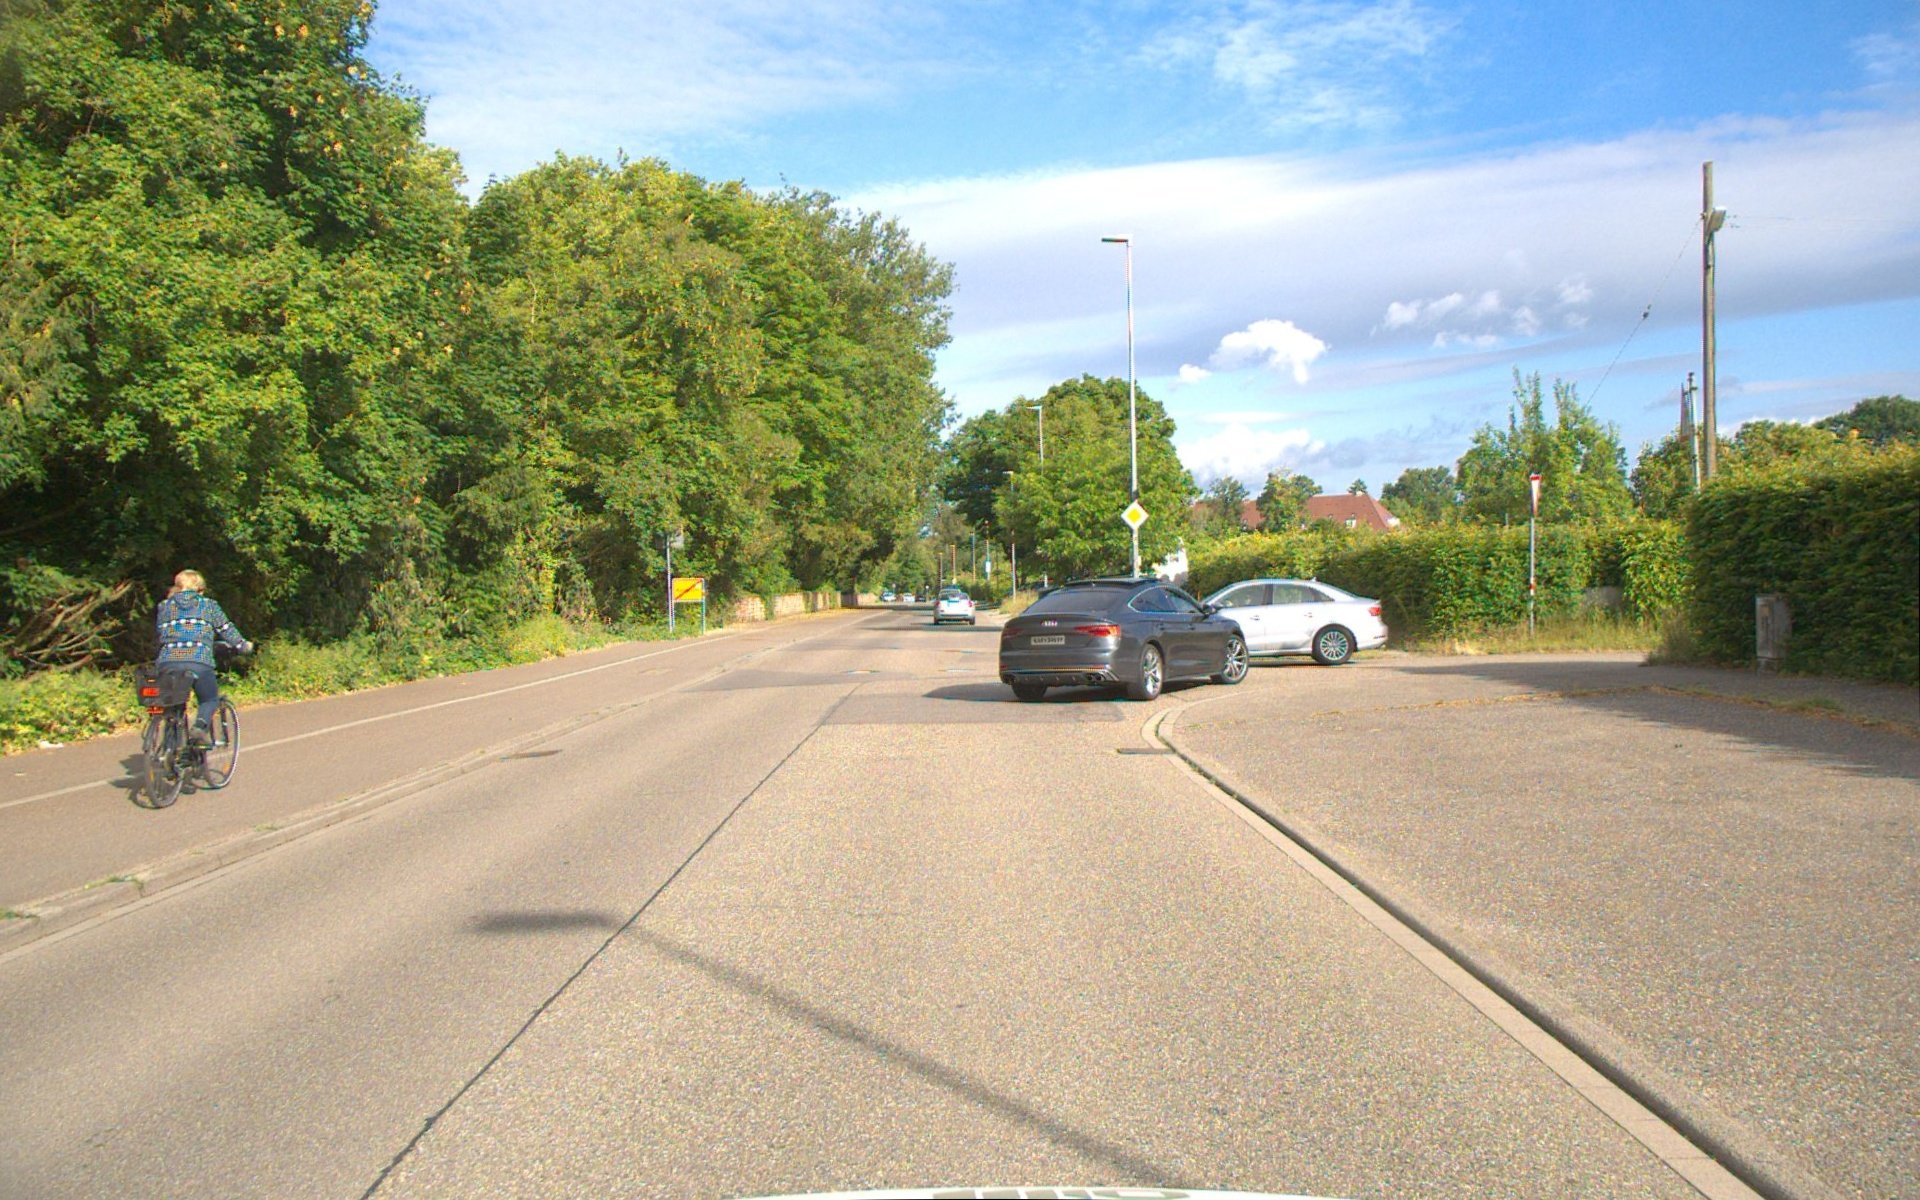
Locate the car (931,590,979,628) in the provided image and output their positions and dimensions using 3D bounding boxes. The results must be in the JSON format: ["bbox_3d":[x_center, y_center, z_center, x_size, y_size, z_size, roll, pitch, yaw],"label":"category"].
[{"bbox_3d":[-0.237,0.344,67.587,1.848,1.396,4.054,-2,1,-1],"label":"car"}]

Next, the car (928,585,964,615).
[{"bbox_3d":[-0.791,0.008,89.246,1.848,1.490,4.054,-2,1,-1],"label":"car"}]

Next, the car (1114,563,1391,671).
[{"bbox_3d":[4.742,0.267,27.282,4.270,1.468,1.934,-3,0,6],"label":"car"}]

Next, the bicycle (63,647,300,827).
[{"bbox_3d":[-5.762,0.966,12.427,0.649,1.116,2.349,0,1,0],"label":"bicycle"}]

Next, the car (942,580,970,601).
[{"bbox_3d":[-0.305,-0.714,118.276,1.848,1.396,4.054,-2,1,-1],"label":"car"}]

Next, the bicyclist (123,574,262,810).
[{"bbox_3d":[-5.773,0.665,12.480,0.596,1.706,0.884,-1,1,0],"label":"bicyclist"}]

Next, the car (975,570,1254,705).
[{"bbox_3d":[2.065,0.392,20.782,1.929,1.459,4.330,-1,1,29],"label":"car"}]

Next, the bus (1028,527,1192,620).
[{"bbox_3d":[5.122,-0.927,57.076,5.259,2.794,2.067,-4,1,-3],"label":"bus"}]
